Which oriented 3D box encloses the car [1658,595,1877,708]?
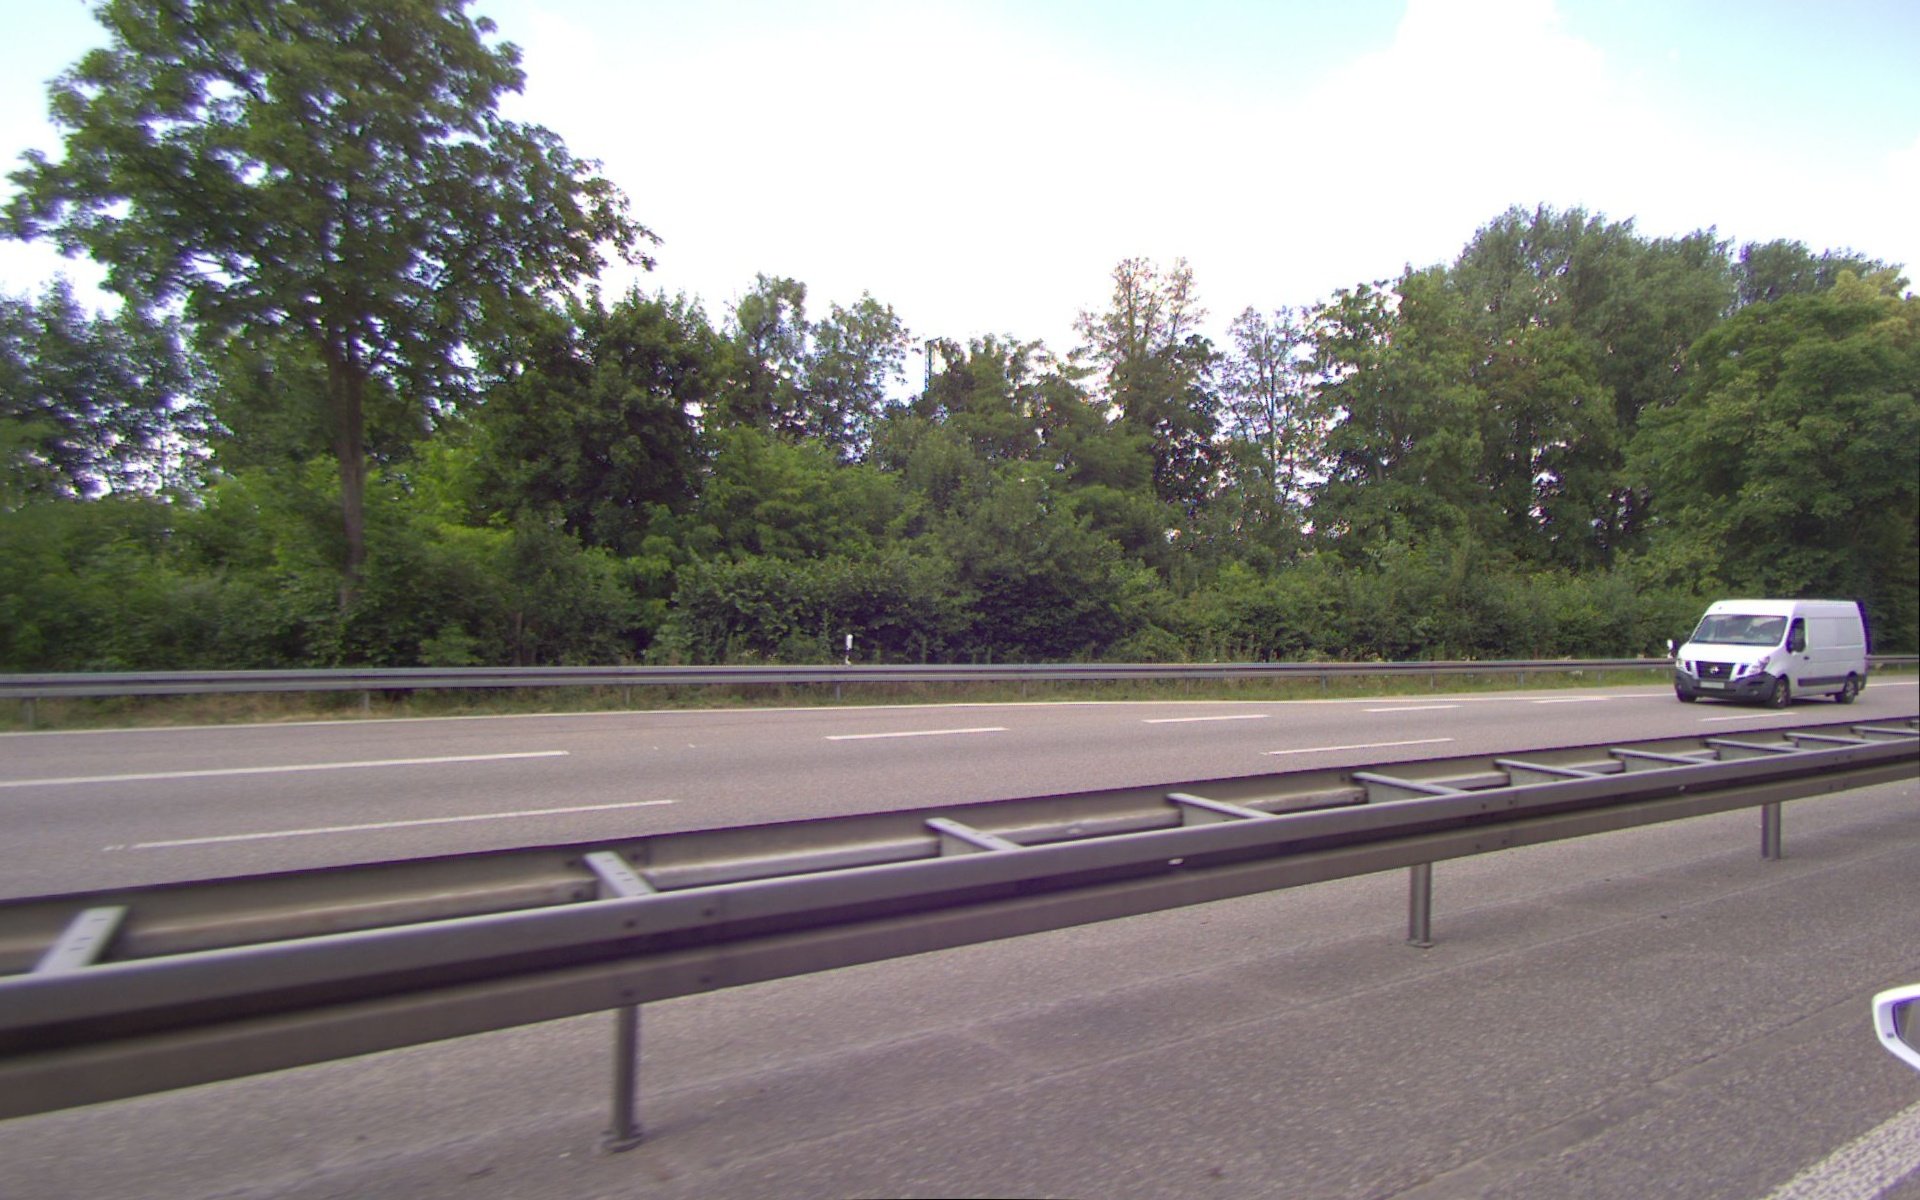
[{"bbox_3d":[19.420,1.168,24.099,5.760,2.455,2.102,1,0,-29],"label":"car"}]
